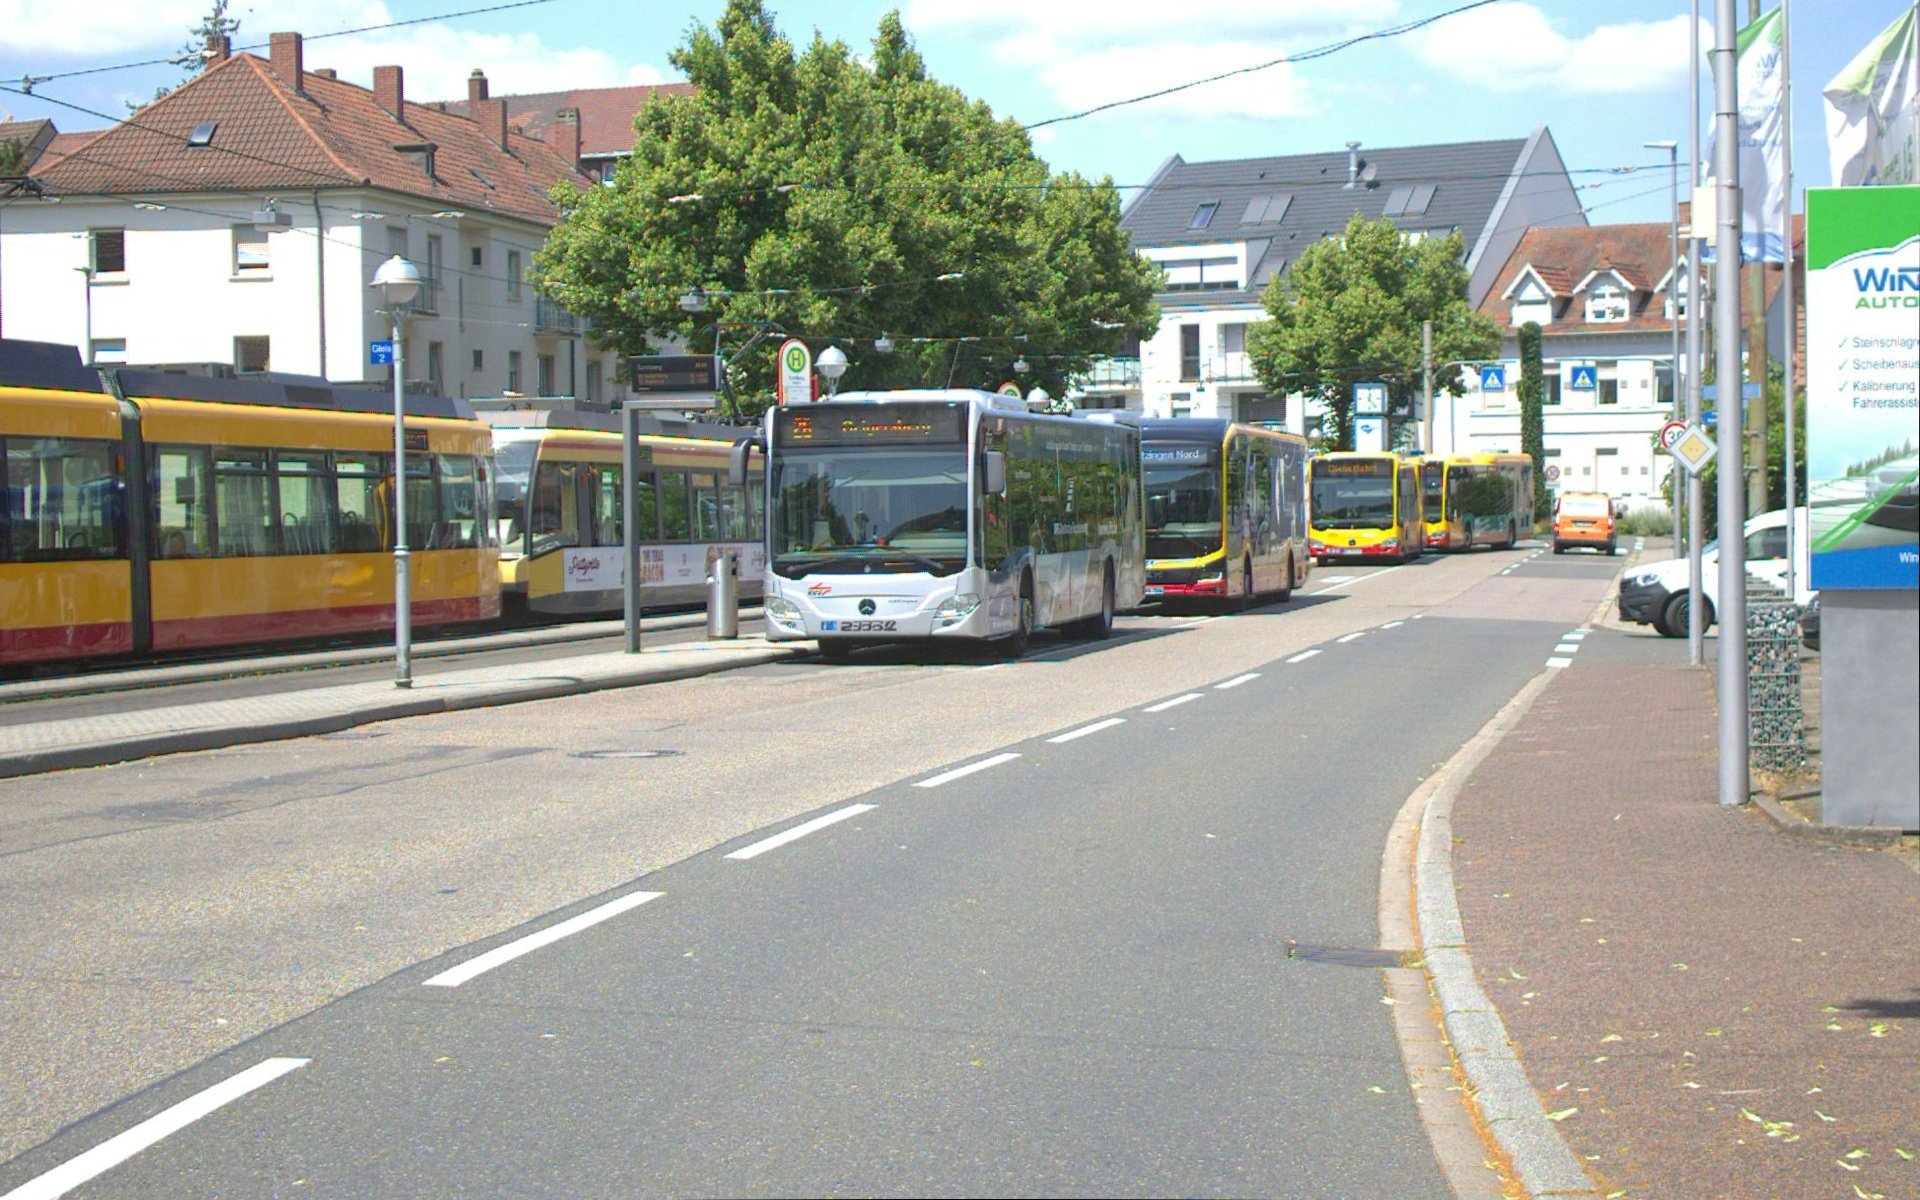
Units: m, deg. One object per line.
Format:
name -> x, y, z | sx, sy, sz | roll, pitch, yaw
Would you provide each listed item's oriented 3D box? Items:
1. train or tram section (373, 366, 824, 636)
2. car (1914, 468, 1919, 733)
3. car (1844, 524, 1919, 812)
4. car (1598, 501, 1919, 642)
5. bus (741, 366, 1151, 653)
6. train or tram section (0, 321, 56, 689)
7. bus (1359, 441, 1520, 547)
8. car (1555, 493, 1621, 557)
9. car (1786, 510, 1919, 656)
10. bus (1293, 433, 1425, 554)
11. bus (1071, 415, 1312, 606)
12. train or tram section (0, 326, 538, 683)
train or tram section -> -5.564, -1.613, 57.456 | 2.786, 3.881, 15.544 | 0, 1, 12
car -> 8.408, -0.007, 22.214 | 1.836, 1.788, 4.024 | -2, 1, -37
car -> 6.704, 0.312, 16.878 | 4.166, 1.434, 1.898 | 0, 1, 35
car -> 11.026, -0.411, 46.897 | 4.304, 1.803, 2.000 | 0, 3, 3
bus -> 0.154, -1.124, 43.430 | 2.732, 3.118, 12.002 | 0, 1, 12
train or tram section -> -11.901, -0.768, 27.679 | 2.811, 3.556, 14.174 | 0, 1, 12
bus -> 15.418, -3.360, 109.861 | 2.637, 3.207, 9.929 | 0, 1, 23
car -> 19.836, -2.374, 108.565 | 1.809, 1.974, 3.998 | 0, 1, 14
car -> 11.049, -0.220, 36.873 | 3.929, 1.513, 1.823 | -1, 1, 0
bus -> 11.407, -2.981, 97.433 | 2.732, 3.207, 11.044 | 0, 1, 12
bus -> 4.393, -1.600, 62.332 | 2.732, 3.118, 12.002 | 0, 1, 12
train or tram section -> -8.887, -1.129, 41.774 | 2.786, 3.556, 14.698 | 0, 1, 12
